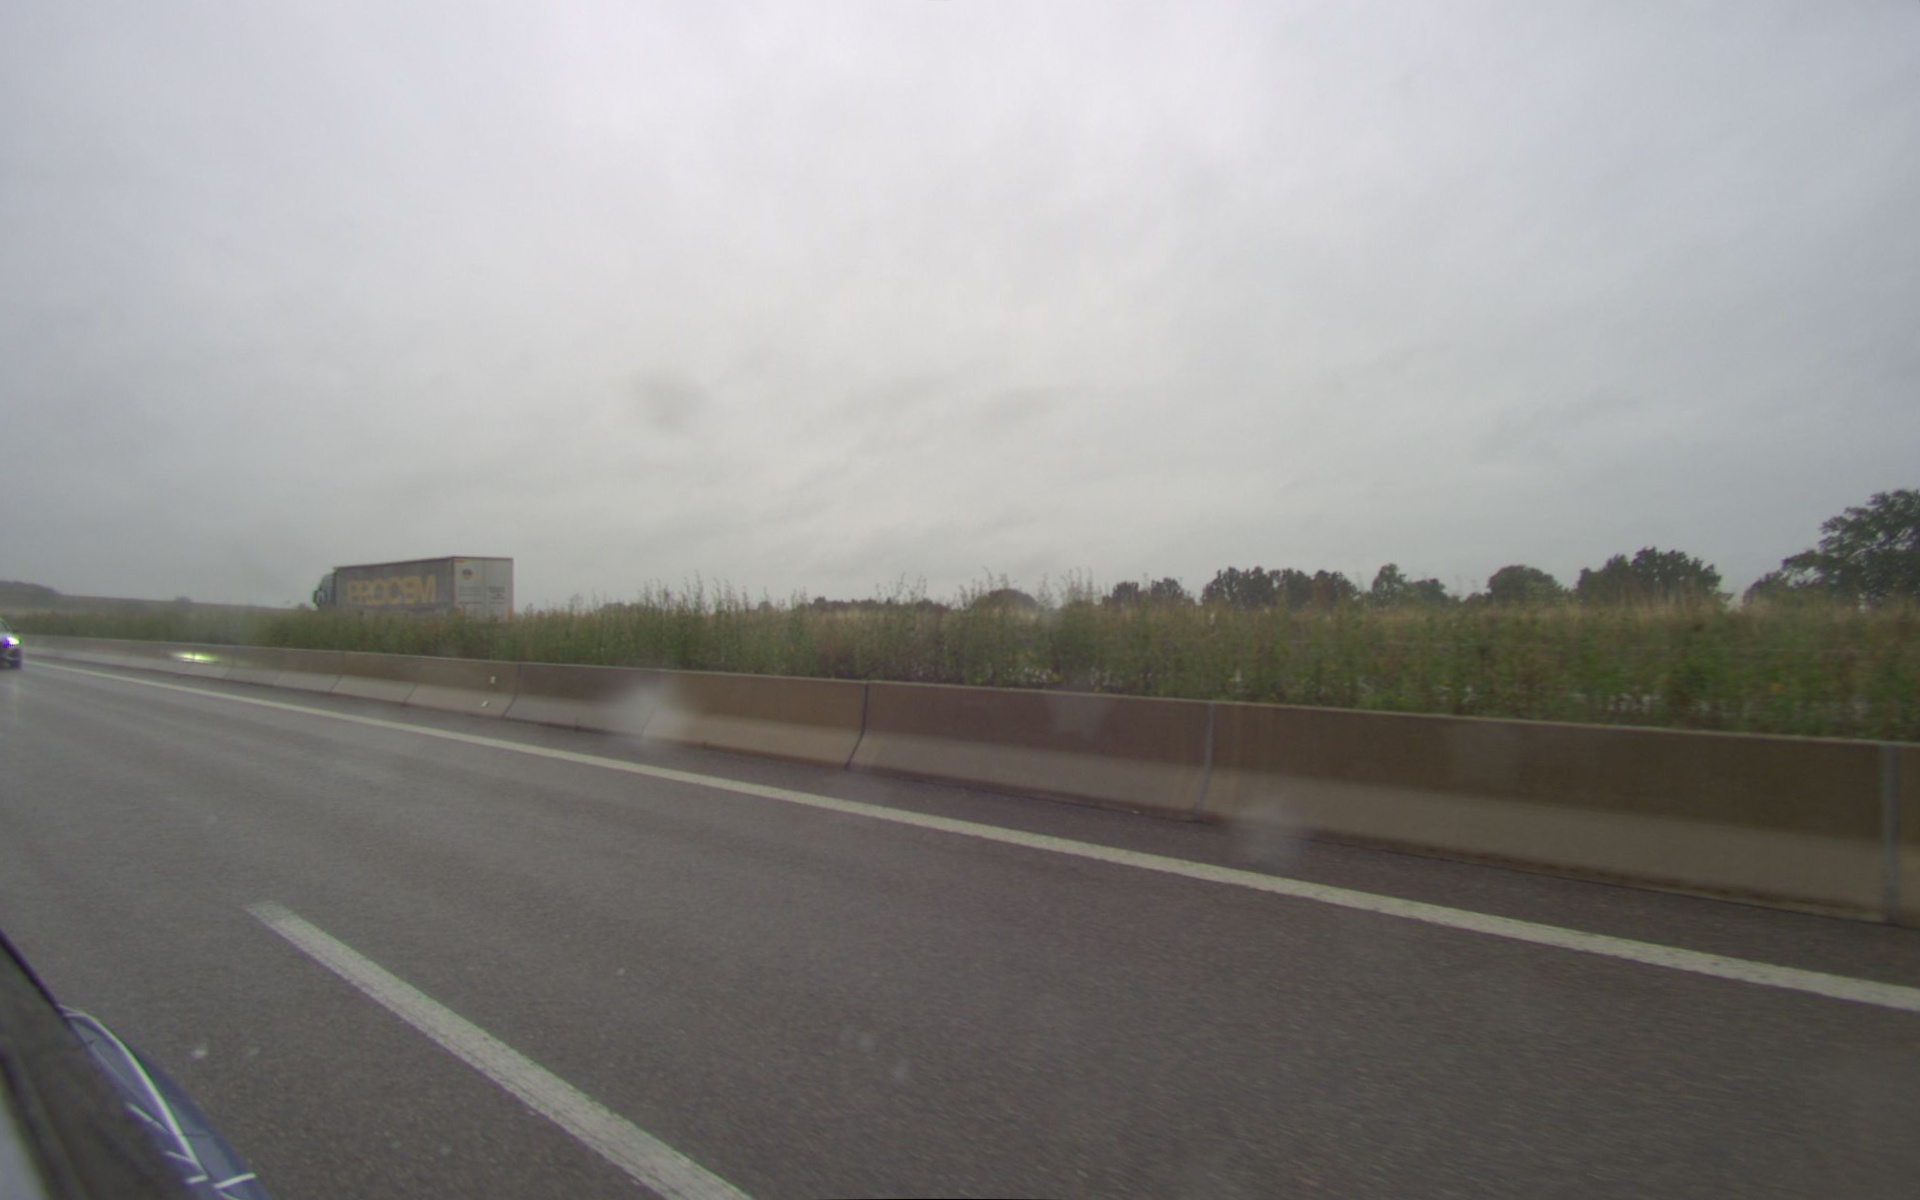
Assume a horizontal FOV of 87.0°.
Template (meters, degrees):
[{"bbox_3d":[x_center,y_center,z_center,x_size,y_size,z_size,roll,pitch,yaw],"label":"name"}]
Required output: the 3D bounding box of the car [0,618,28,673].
[{"bbox_3d":[-30.095,1.365,30.774,3.995,1.630,1.974,-1,-1,38],"label":"car"}]

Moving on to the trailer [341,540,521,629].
[{"bbox_3d":[-24.649,-0.688,46.647,12.483,3.667,2.961,1,1,41],"label":"trailer"}]

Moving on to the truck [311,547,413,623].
[{"bbox_3d":[-30.602,-0.766,51.738,5.461,3.649,2.919,1,1,41],"label":"truck"}]
